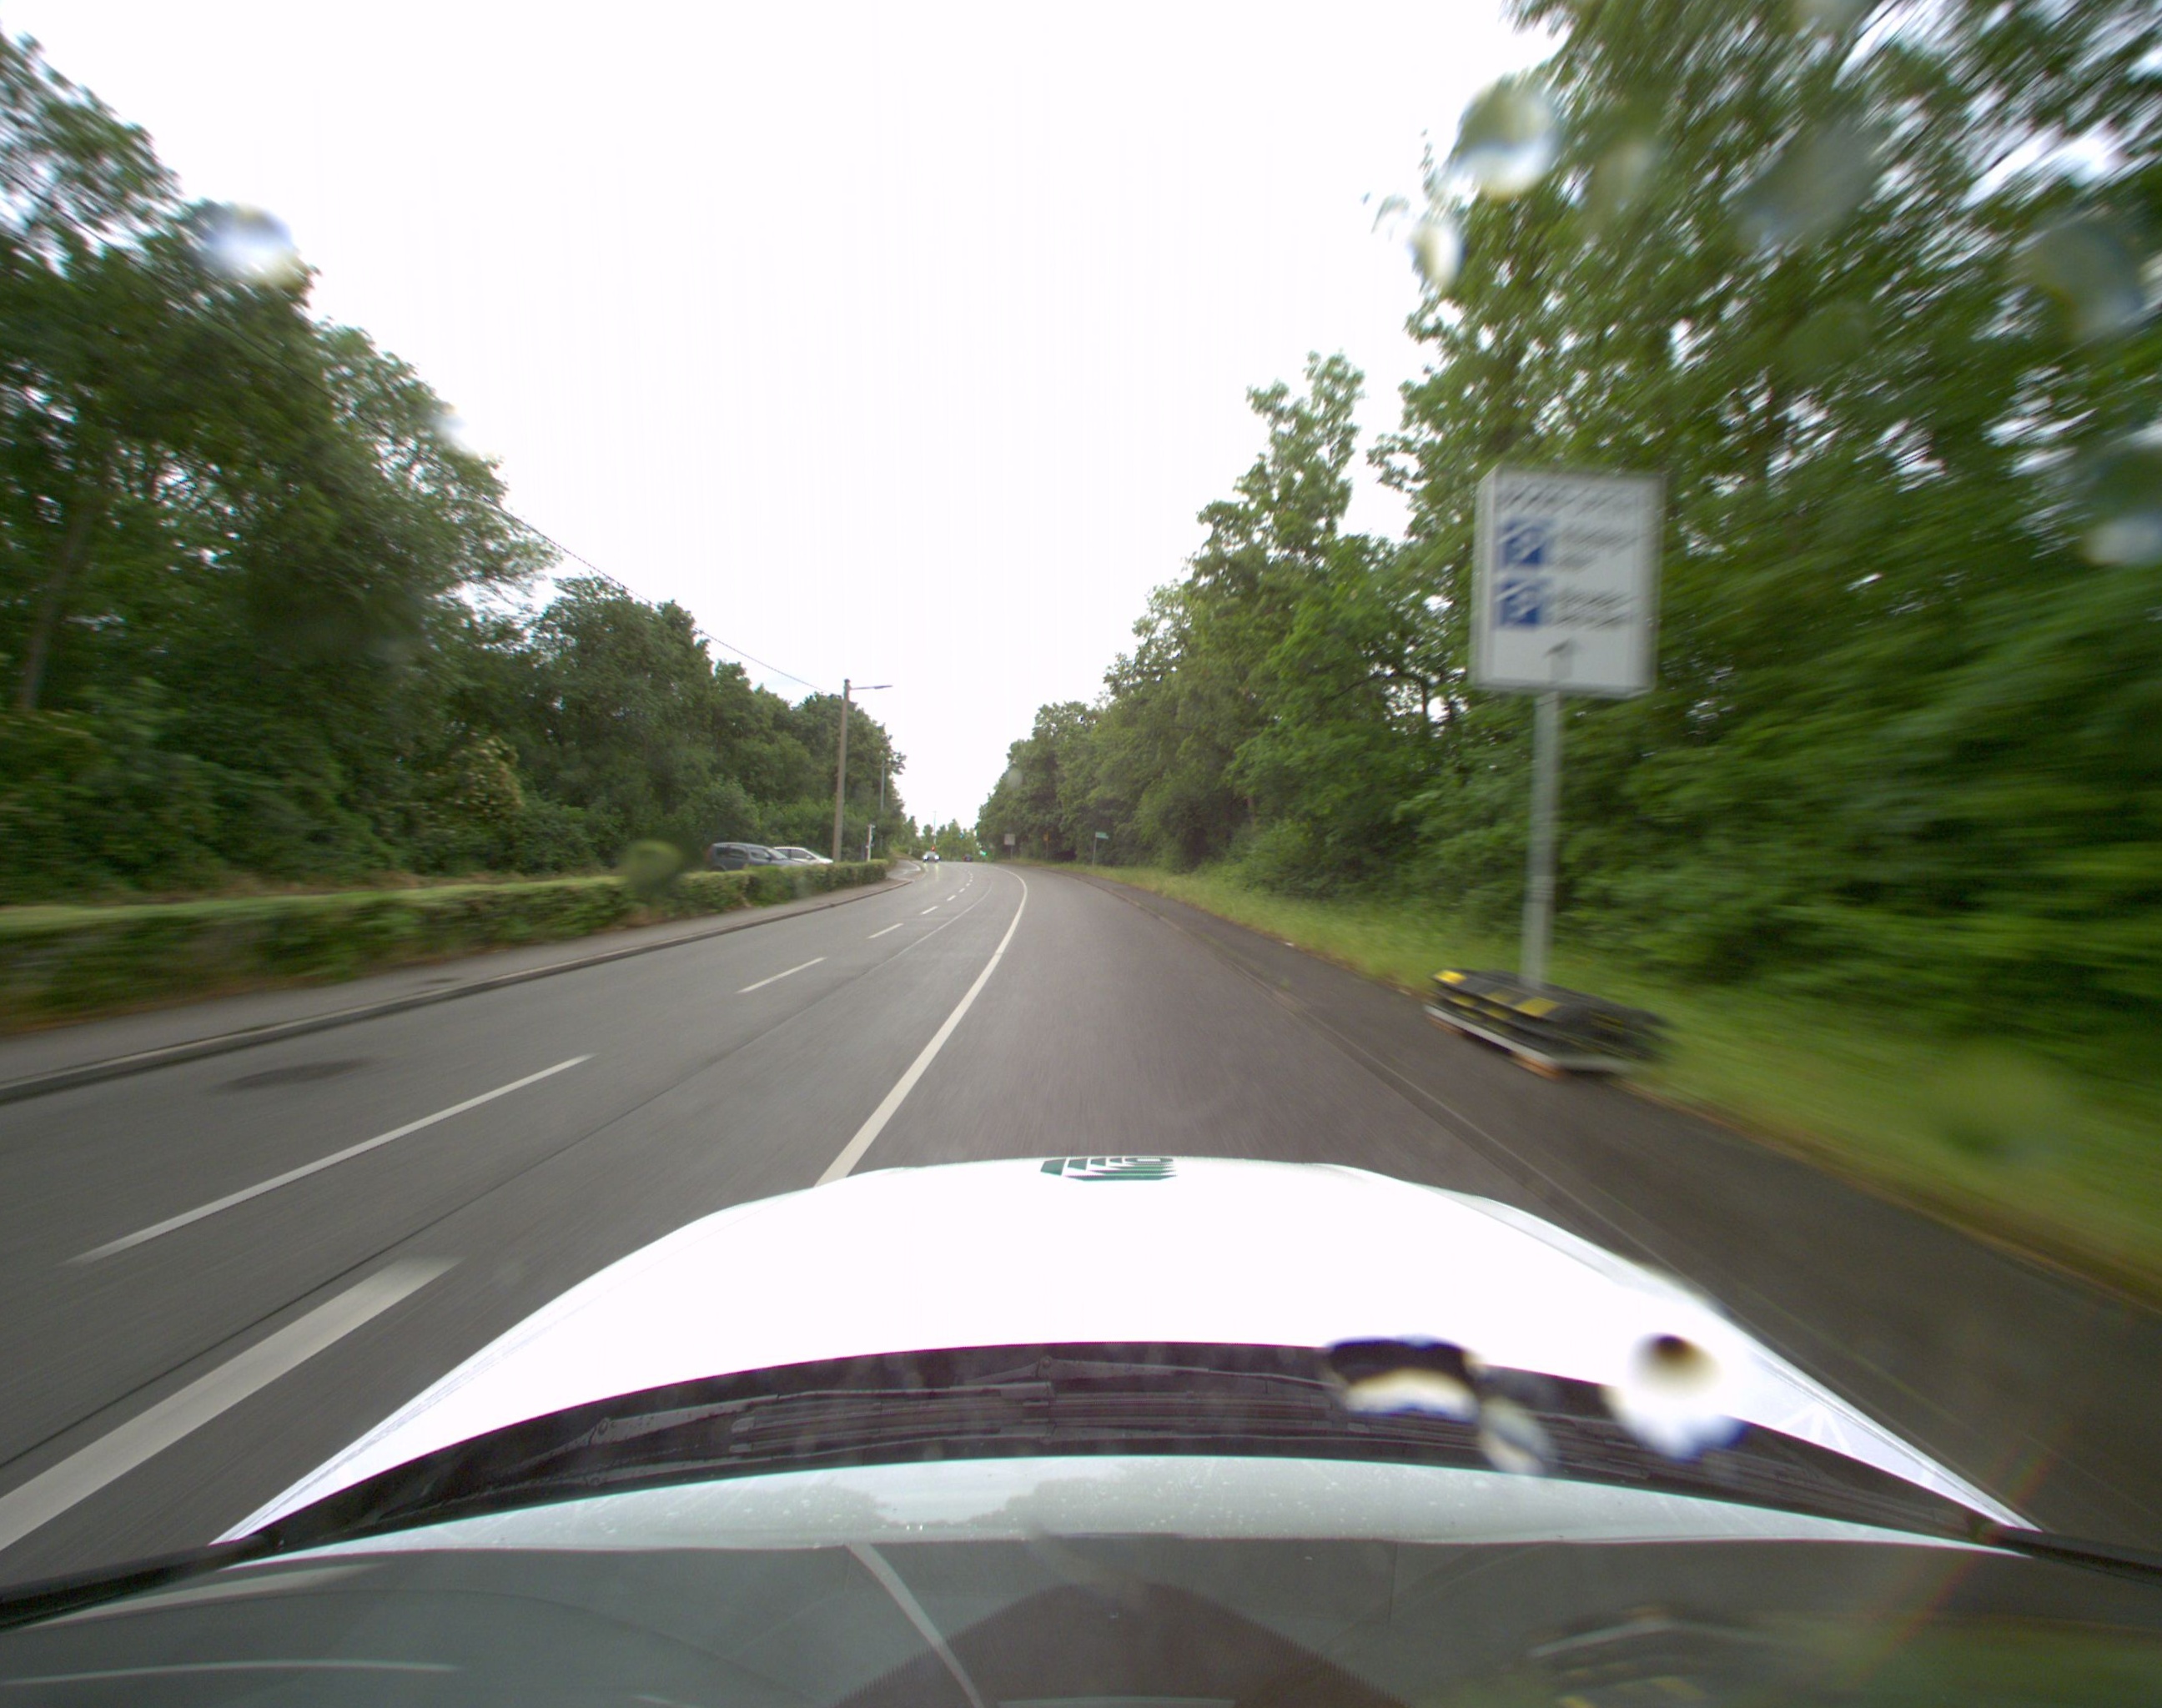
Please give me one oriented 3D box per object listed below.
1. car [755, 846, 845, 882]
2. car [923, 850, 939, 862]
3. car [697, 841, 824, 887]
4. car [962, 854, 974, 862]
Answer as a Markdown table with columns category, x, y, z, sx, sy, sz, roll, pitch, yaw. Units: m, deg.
| category | x | y | z | sx | sy | sz | roll | pitch | yaw |
| --- | --- | --- | --- | --- | --- | --- | --- | --- | --- |
| car | -13.152 | 0.458 | 38.329 | 3.641 | 1.591 | 1.847 | 1 | 0 | -7 |
| car | -19.565 | 0.227 | 106.151 | 1.935 | 1.498 | 4.303 | 0 | 0 | -10 |
| car | -12.788 | 0.400 | 32.691 | 4.277 | 1.708 | 2.000 | 1 | 0 | -1 |
| car | -23.025 | 0.755 | 165.946 | 1.931 | 1.498 | 4.313 | 0 | 0 | -3 |
